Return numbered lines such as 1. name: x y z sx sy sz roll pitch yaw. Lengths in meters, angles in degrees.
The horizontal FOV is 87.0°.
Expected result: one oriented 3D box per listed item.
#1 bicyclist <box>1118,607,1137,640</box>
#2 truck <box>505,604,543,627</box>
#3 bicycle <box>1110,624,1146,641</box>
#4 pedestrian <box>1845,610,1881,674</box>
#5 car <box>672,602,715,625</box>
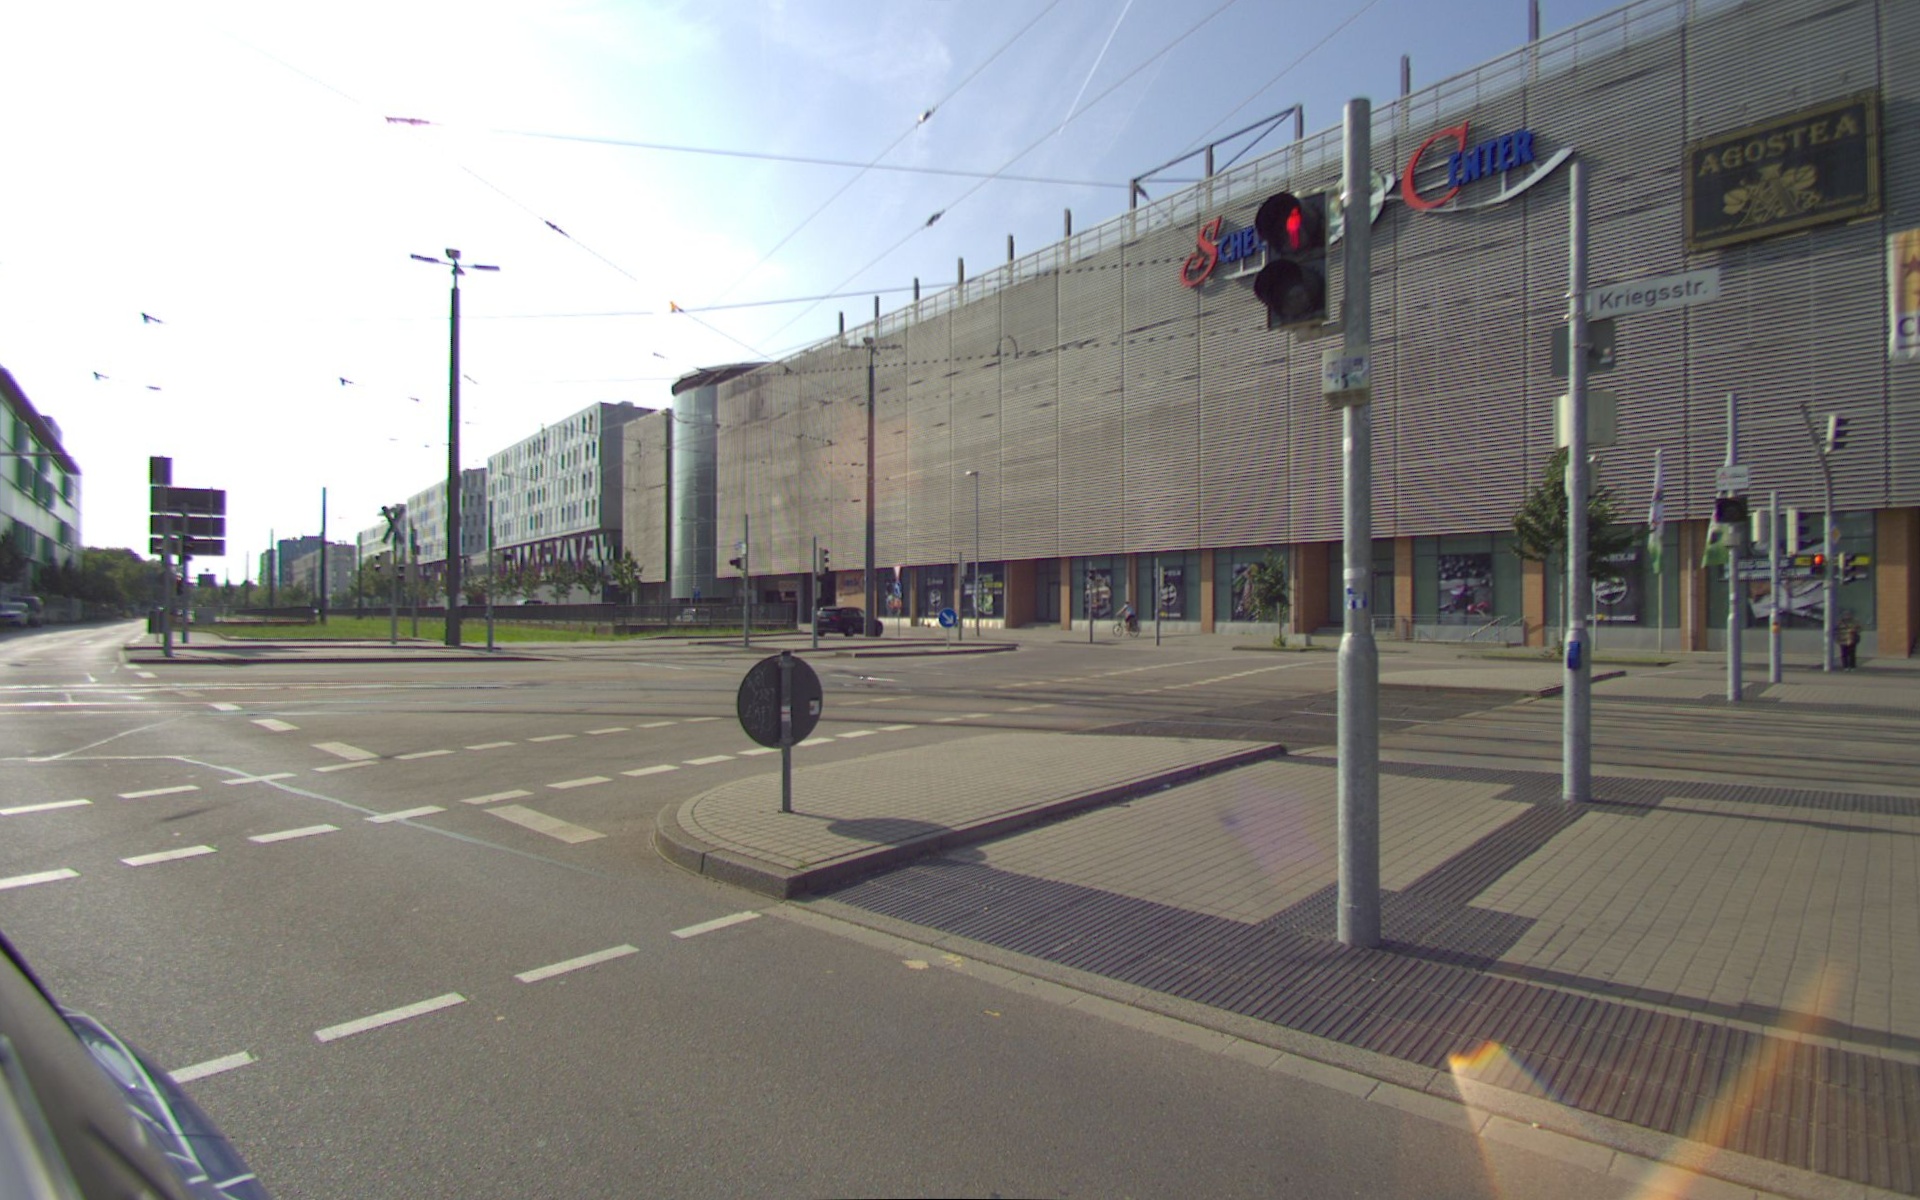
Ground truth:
1. bicyclist: 8.382 1.172 50.502 0.560 1.642 0.715 1 0 -40
2. truck: -44.825 1.613 104.053 2.174 2.339 4.556 1 -1 -43
3. bicycle: 8.379 1.602 50.513 0.573 0.785 1.872 1 0 -39
4. pedestrian: 23.041 1.052 25.821 0.752 1.591 0.590 -1 0 -43
5. car: -19.543 0.967 74.144 1.715 1.571 3.408 1 0 -39
